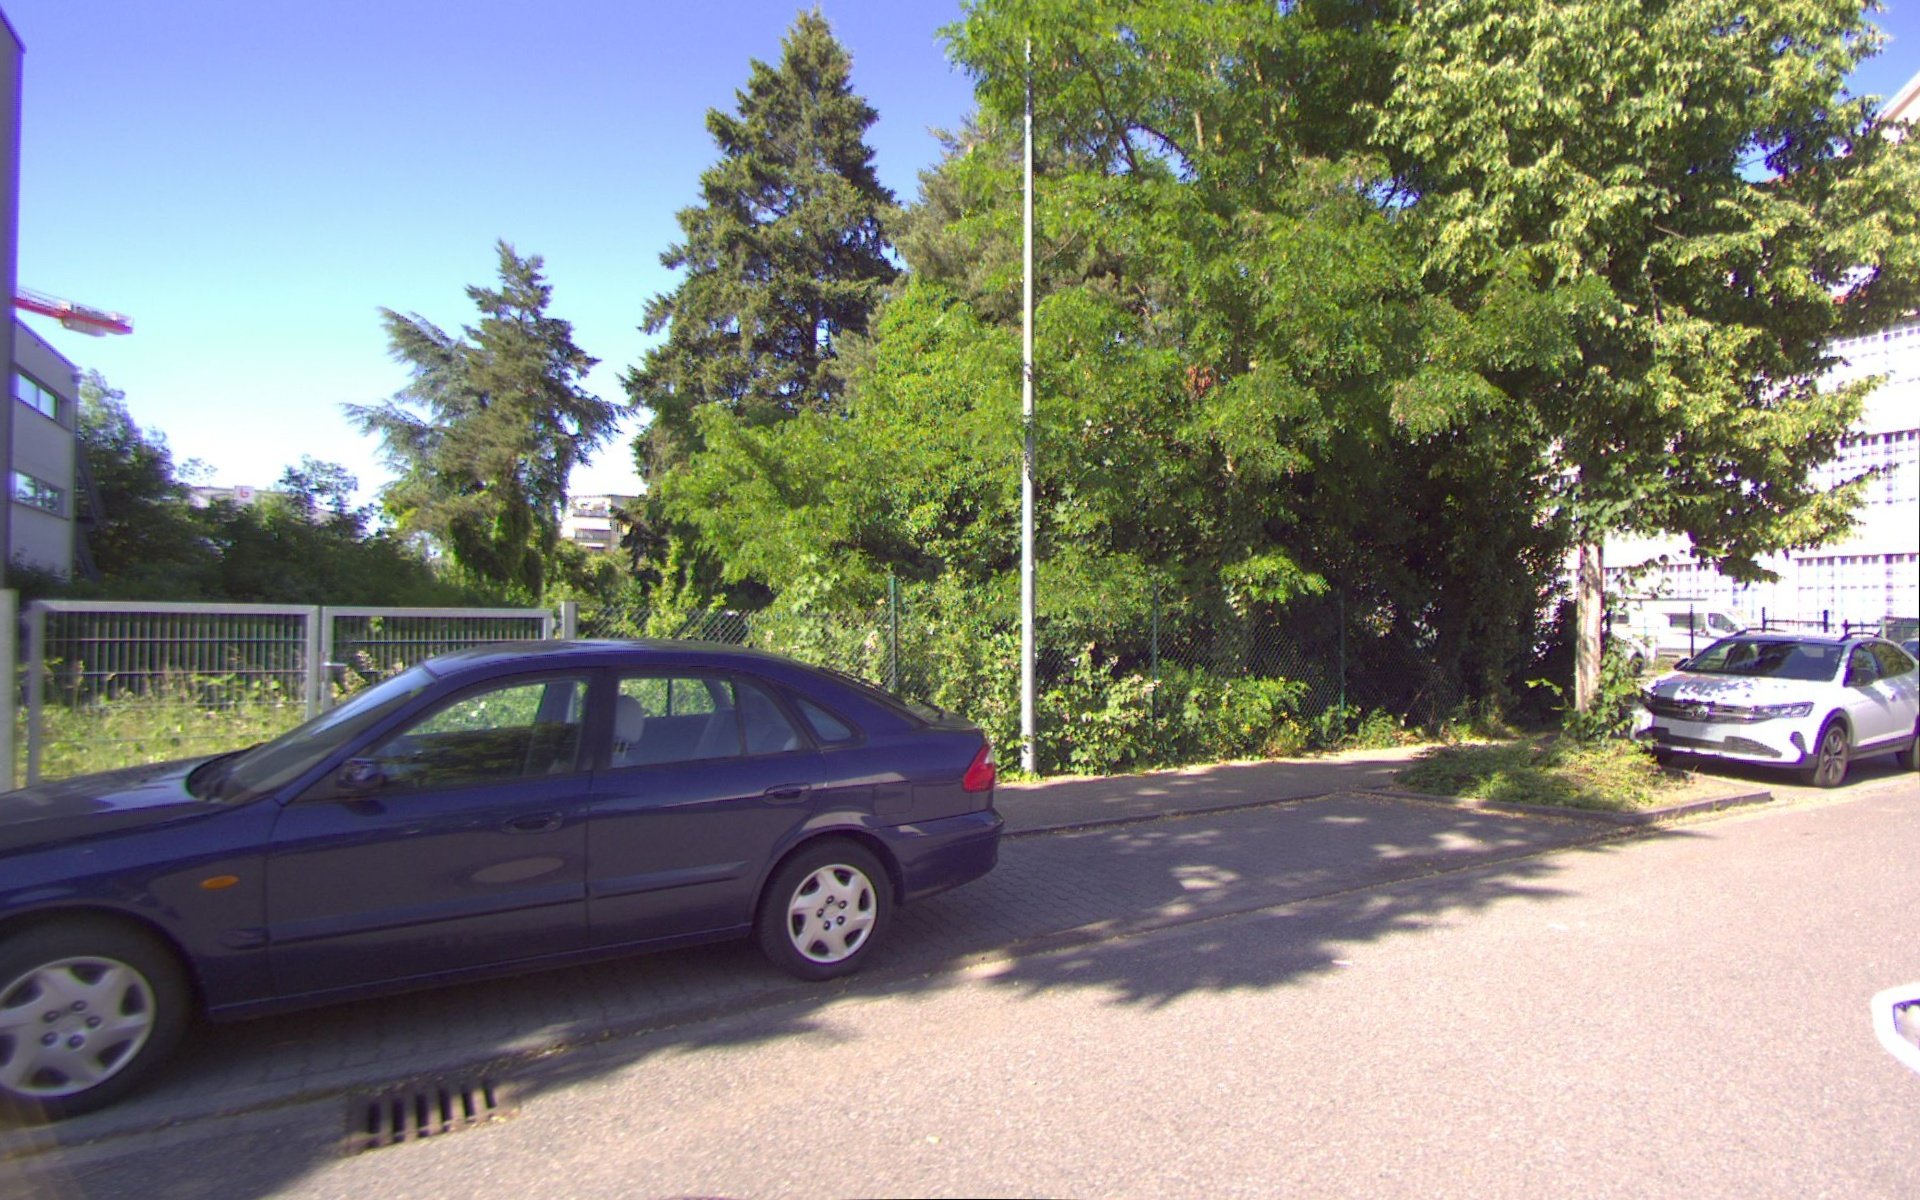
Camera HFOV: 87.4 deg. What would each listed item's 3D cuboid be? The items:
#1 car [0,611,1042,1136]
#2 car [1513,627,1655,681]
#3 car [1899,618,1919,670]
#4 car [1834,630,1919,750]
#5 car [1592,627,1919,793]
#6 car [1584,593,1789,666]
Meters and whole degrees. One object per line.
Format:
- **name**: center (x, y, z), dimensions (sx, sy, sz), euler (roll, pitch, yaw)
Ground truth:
- **car**: center (-1.925, 0.854, 4.537), dimensions (4.309, 1.493, 1.831), euler (2, 0, -31)
- **car**: center (20.112, 1.682, 32.369), dimensions (4.370, 1.631, 1.986), euler (1, -1, -28)
- **car**: center (33.195, 1.460, 32.257), dimensions (1.975, 1.718, 4.073), euler (2, -2, -28)
- **car**: center (13.756, 1.211, 13.795), dimensions (3.507, 1.493, 1.708), euler (2, 0, -32)
- **car**: center (9.101, 1.104, 11.236), dimensions (3.956, 1.493, 1.831), euler (2, 0, -31)
- **car**: center (28.509, 1.162, 39.717), dimensions (2.139, 2.631, 6.234), euler (1, -2, -30)
